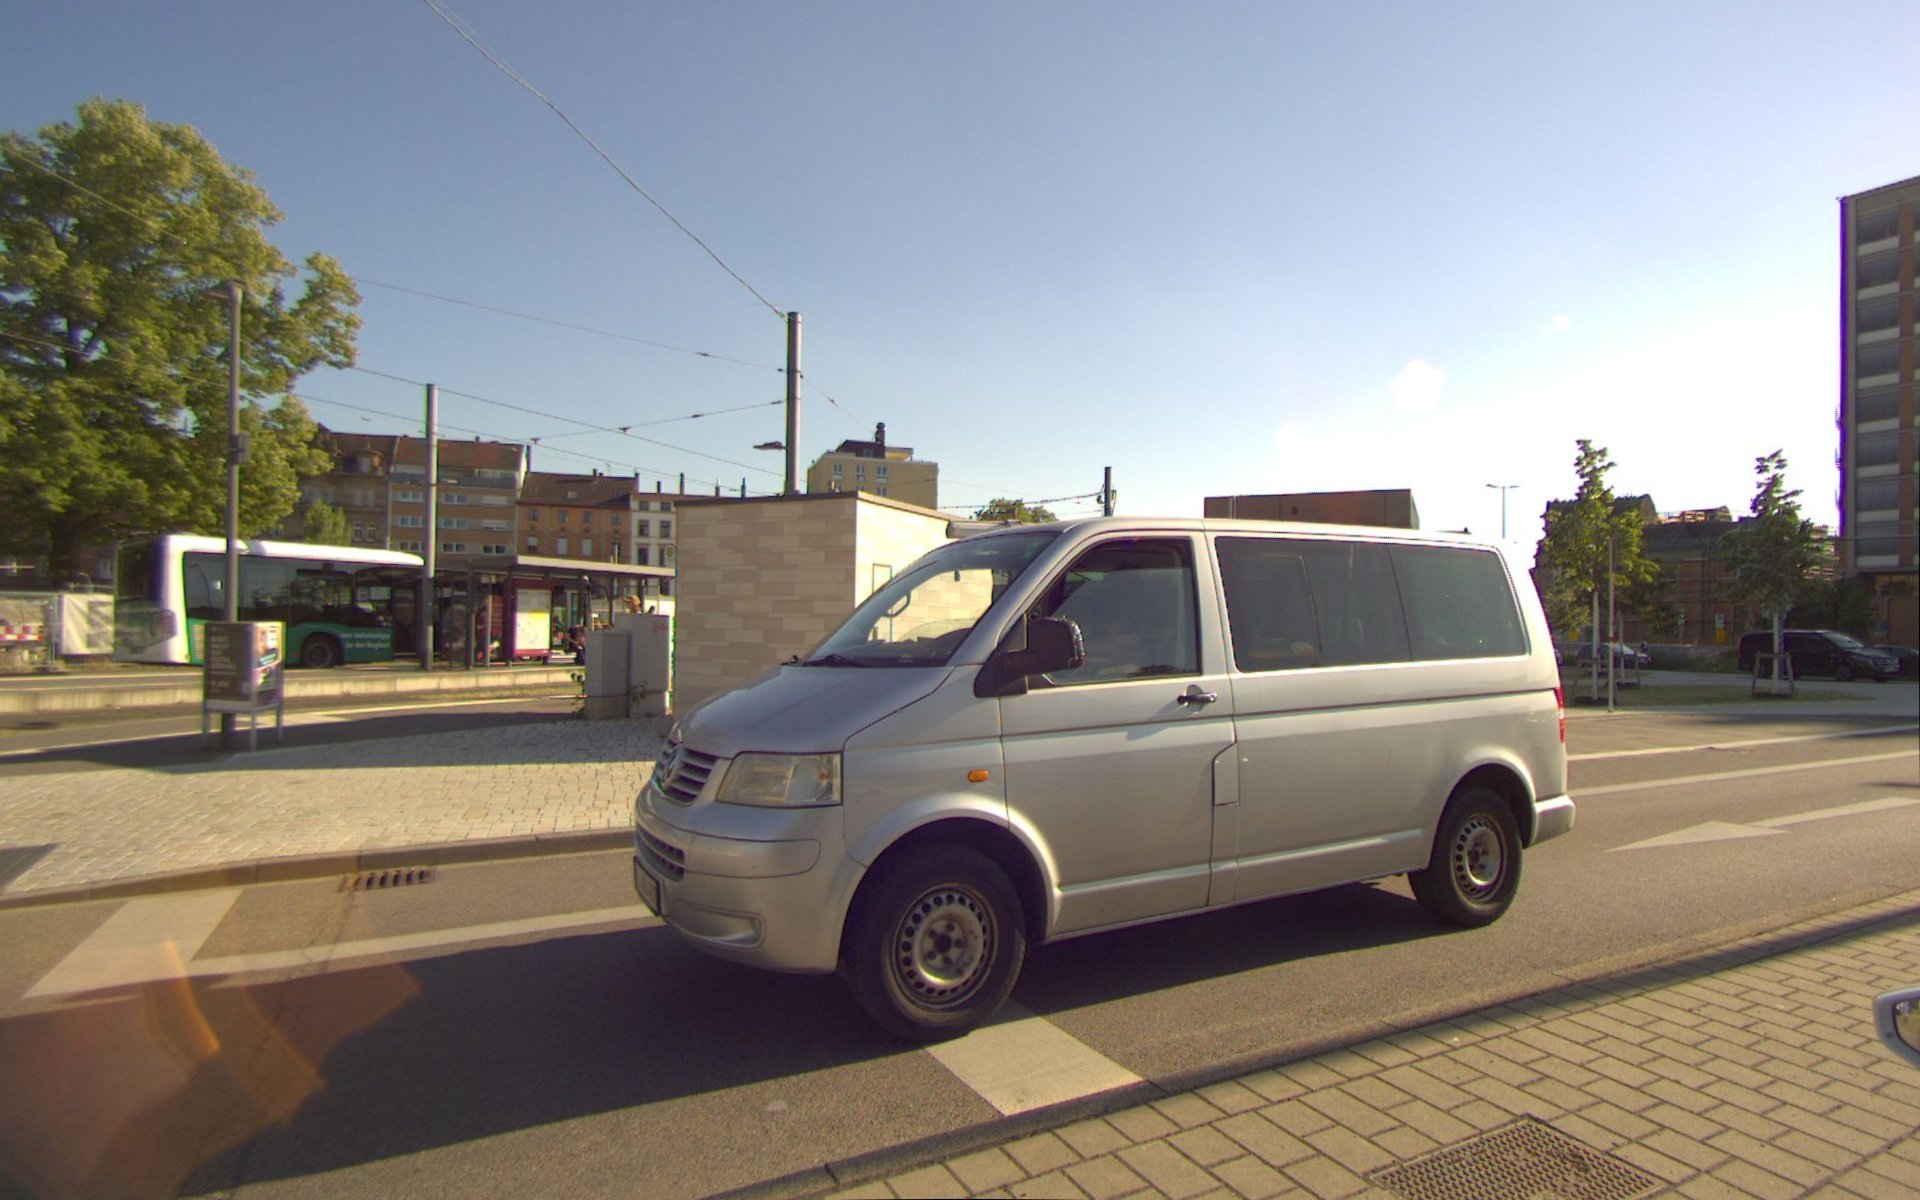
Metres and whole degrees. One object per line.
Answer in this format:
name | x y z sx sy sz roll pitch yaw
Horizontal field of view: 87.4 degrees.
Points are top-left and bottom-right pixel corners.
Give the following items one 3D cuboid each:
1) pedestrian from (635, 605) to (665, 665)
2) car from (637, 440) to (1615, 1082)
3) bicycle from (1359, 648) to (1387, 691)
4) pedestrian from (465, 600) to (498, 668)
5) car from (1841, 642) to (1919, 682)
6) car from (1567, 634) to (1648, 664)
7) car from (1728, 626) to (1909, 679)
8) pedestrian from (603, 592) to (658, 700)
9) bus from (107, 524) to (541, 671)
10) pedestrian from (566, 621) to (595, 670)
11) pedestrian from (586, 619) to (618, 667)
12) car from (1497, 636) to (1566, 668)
pedestrian | -9.415 1.062 30.553 0.561 1.772 0.640 0 -1 21
car | 0.951 0.585 5.046 4.647 1.970 1.902 2 -3 -28
bicycle | 11.821 1.965 28.748 0.597 1.129 1.895 2 -1 26
pedestrian | -12.743 0.908 26.749 0.530 1.772 0.558 0 -2 33
car | 39.623 2.601 42.202 1.577 1.581 3.631 1 -2 -22
car | 36.297 2.709 56.370 1.626 1.581 3.581 1 -2 -22
car | 33.025 2.022 38.911 2.205 1.919 5.164 1 -2 -8
pedestrian | -5.537 0.764 16.910 0.627 1.772 0.572 0 -1 20
bus | -16.078 0.045 26.641 2.613 3.177 9.631 2 -1 28
pedestrian | -10.624 1.260 28.131 0.606 1.358 0.441 0 -1 21
pedestrian | -10.233 1.226 28.729 0.561 1.363 0.640 0 -1 21
car | 30.656 2.775 53.985 1.612 1.581 3.600 1 -2 -1
